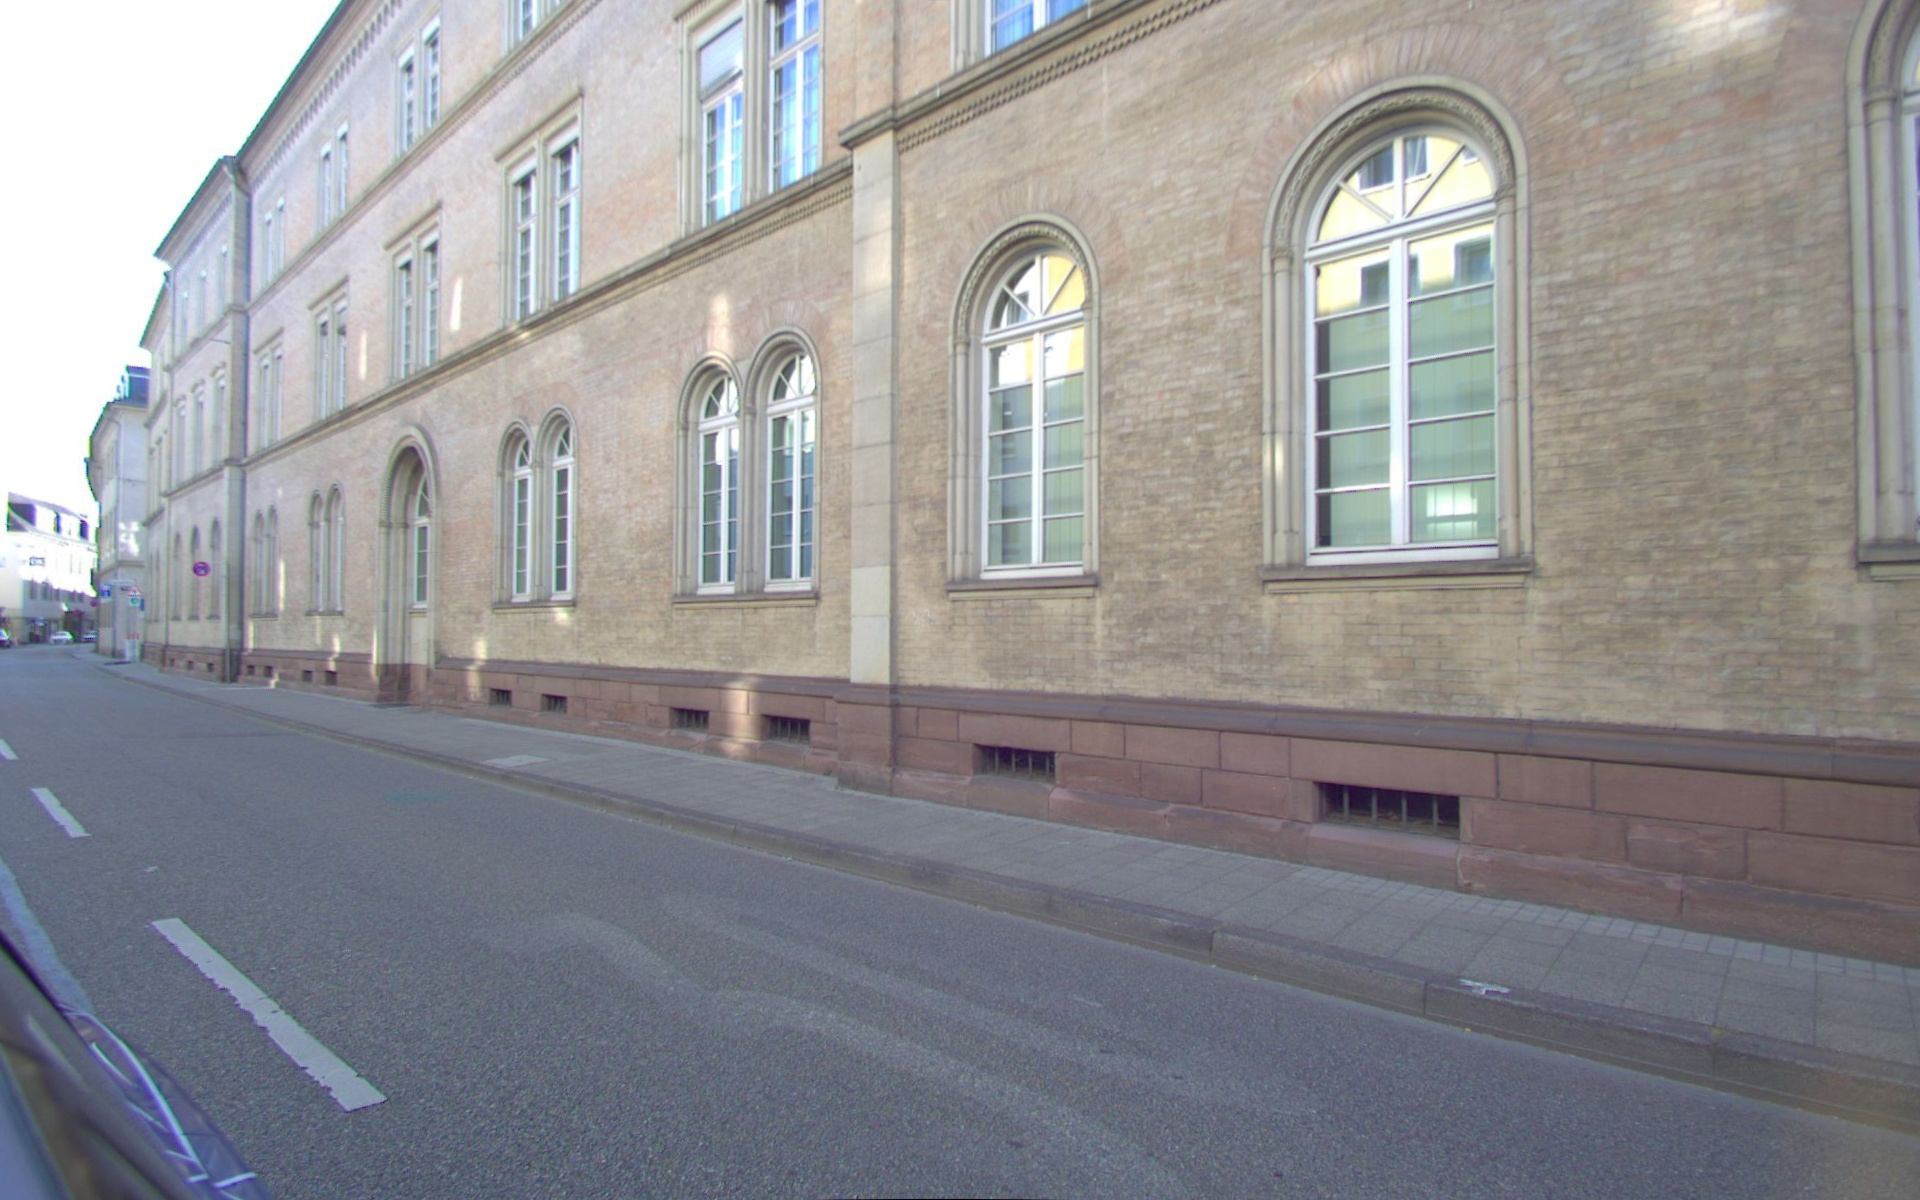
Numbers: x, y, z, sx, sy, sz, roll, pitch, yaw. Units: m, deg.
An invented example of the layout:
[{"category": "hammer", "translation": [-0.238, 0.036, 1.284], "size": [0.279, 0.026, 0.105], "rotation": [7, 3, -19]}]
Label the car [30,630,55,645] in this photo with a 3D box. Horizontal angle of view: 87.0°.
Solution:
[{"category": "car", "translation": [-102.438, 4.177, 113.012], "size": [1.511, 1.737, 3.749], "rotation": [1, -2, -34]}]

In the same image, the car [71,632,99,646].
[{"category": "car", "translation": [-109.350, 4.848, 126.520], "size": [1.896, 1.737, 4.242], "rotation": [1, -2, -31]}]

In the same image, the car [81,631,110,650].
[{"category": "car", "translation": [-80.092, 3.735, 93.779], "size": [1.638, 1.737, 3.748], "rotation": [1, -2, -36]}]
